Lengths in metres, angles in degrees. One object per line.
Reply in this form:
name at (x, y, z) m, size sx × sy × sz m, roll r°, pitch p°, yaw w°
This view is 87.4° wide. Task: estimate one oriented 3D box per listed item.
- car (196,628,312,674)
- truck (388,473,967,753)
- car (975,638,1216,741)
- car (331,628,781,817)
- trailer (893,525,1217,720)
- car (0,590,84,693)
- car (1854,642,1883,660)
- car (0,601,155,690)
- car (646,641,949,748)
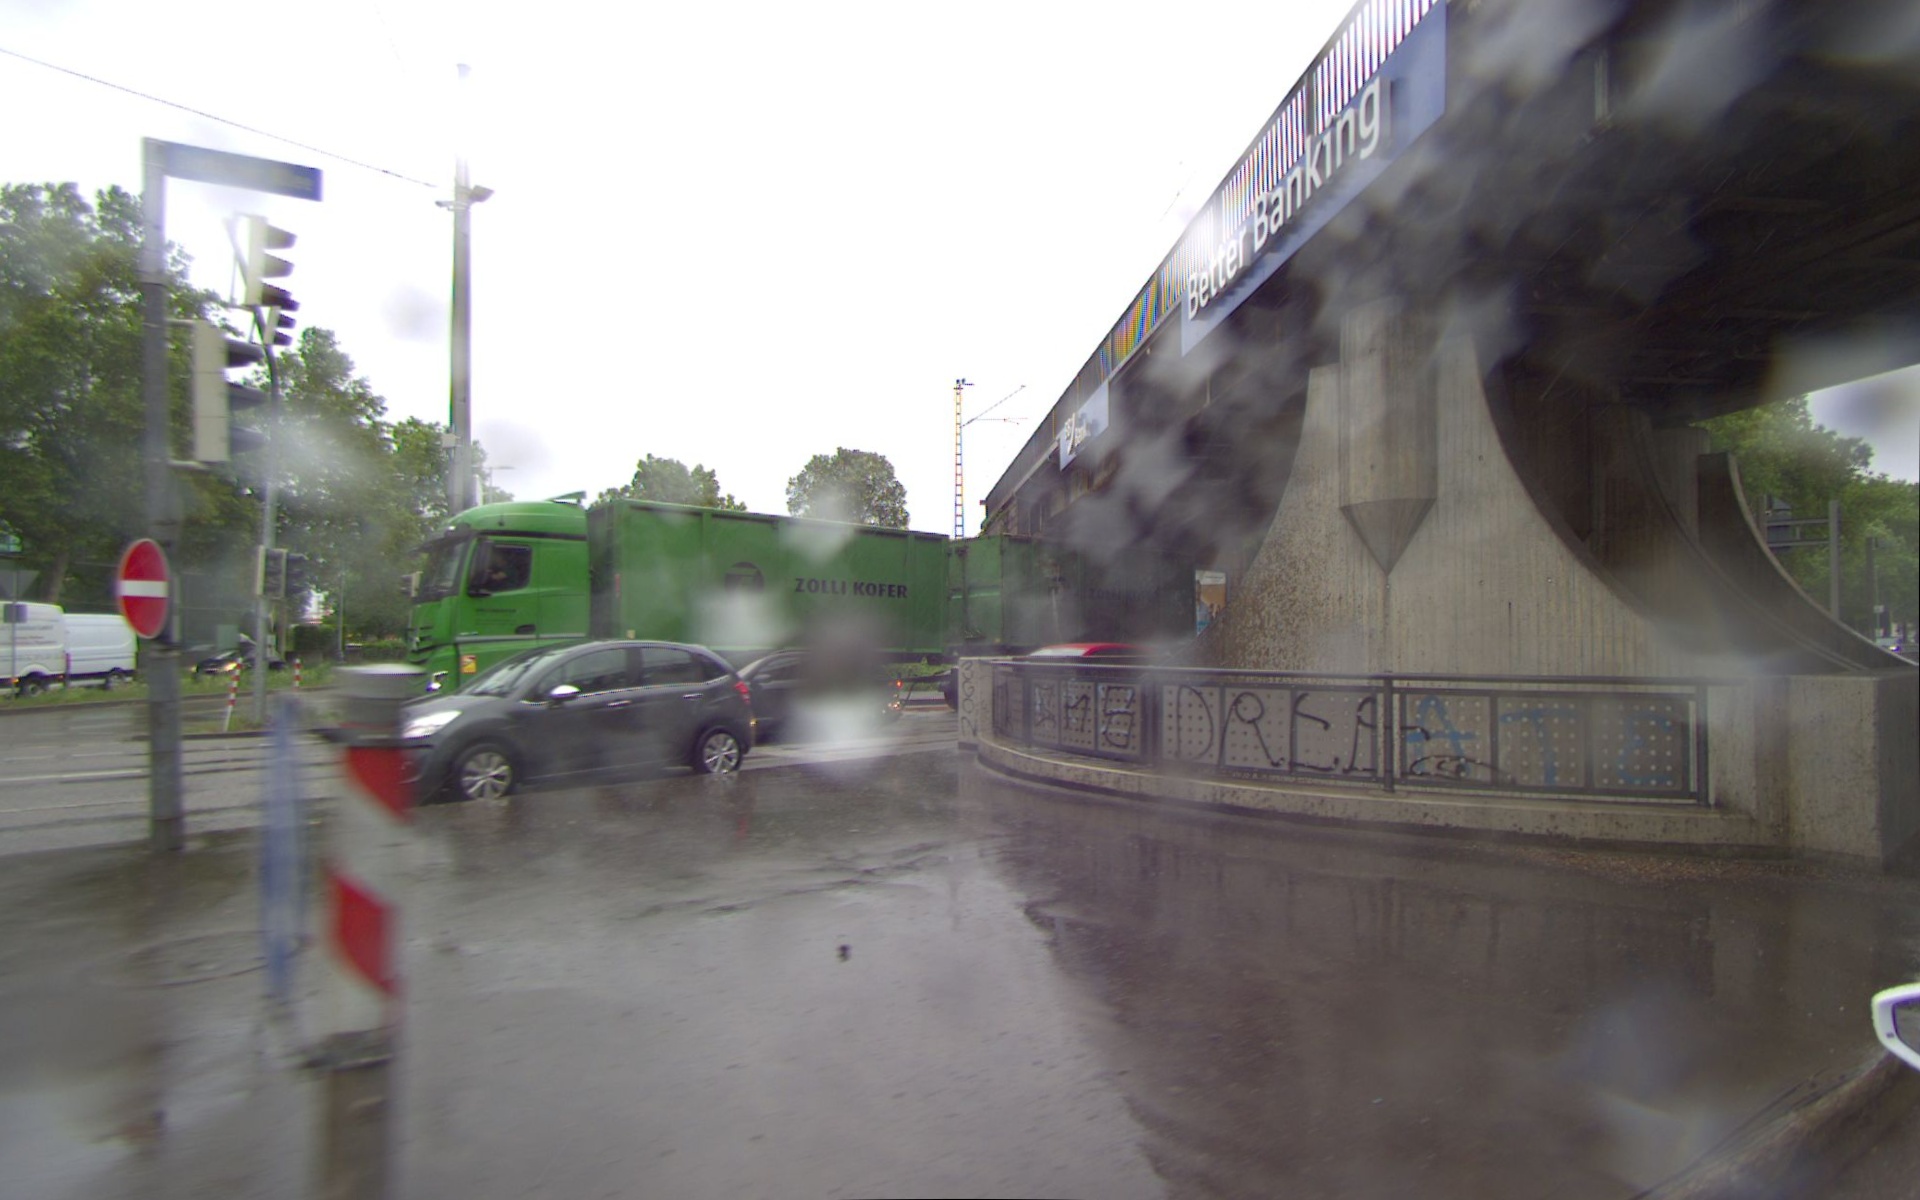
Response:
car at (-27.774, 1.977, 39.698) m, size 1.833 × 1.706 × 4.000 m, roll 1°, pitch -2°, yaw -3°
truck at (-4.585, 0.378, 18.622) m, size 10.110 × 4.001 × 2.658 m, roll 2°, pitch -3°, yaw -40°
car at (2.294, 1.381, 16.399) m, size 3.972 × 1.471 × 1.798 m, roll 3°, pitch -3°, yaw -43°
car at (-3.975, 1.115, 10.344) m, size 3.974 × 1.566 × 1.639 m, roll 3°, pitch -3°, yaw -44°
trailer at (2.587, 0.617, 24.518) m, size 8.447 × 4.039 × 2.660 m, roll 2°, pitch -2°, yaw -39°
car at (-23.925, 0.968, 23.463) m, size 1.932 × 2.465 × 5.960 m, roll 1°, pitch -2°, yaw -4°
car at (82.053, 4.566, 90.701) m, size 1.887 × 1.592 × 3.977 m, roll -2°, pitch -3°, yaw 43°
car at (-27.287, 1.353, 30.312) m, size 1.932 × 2.465 × 5.260 m, roll 1°, pitch -2°, yaw -4°
car at (-2.521, 1.443, 16.351) m, size 4.645 × 1.505 × 1.727 m, roll 3°, pitch -3°, yaw -39°
